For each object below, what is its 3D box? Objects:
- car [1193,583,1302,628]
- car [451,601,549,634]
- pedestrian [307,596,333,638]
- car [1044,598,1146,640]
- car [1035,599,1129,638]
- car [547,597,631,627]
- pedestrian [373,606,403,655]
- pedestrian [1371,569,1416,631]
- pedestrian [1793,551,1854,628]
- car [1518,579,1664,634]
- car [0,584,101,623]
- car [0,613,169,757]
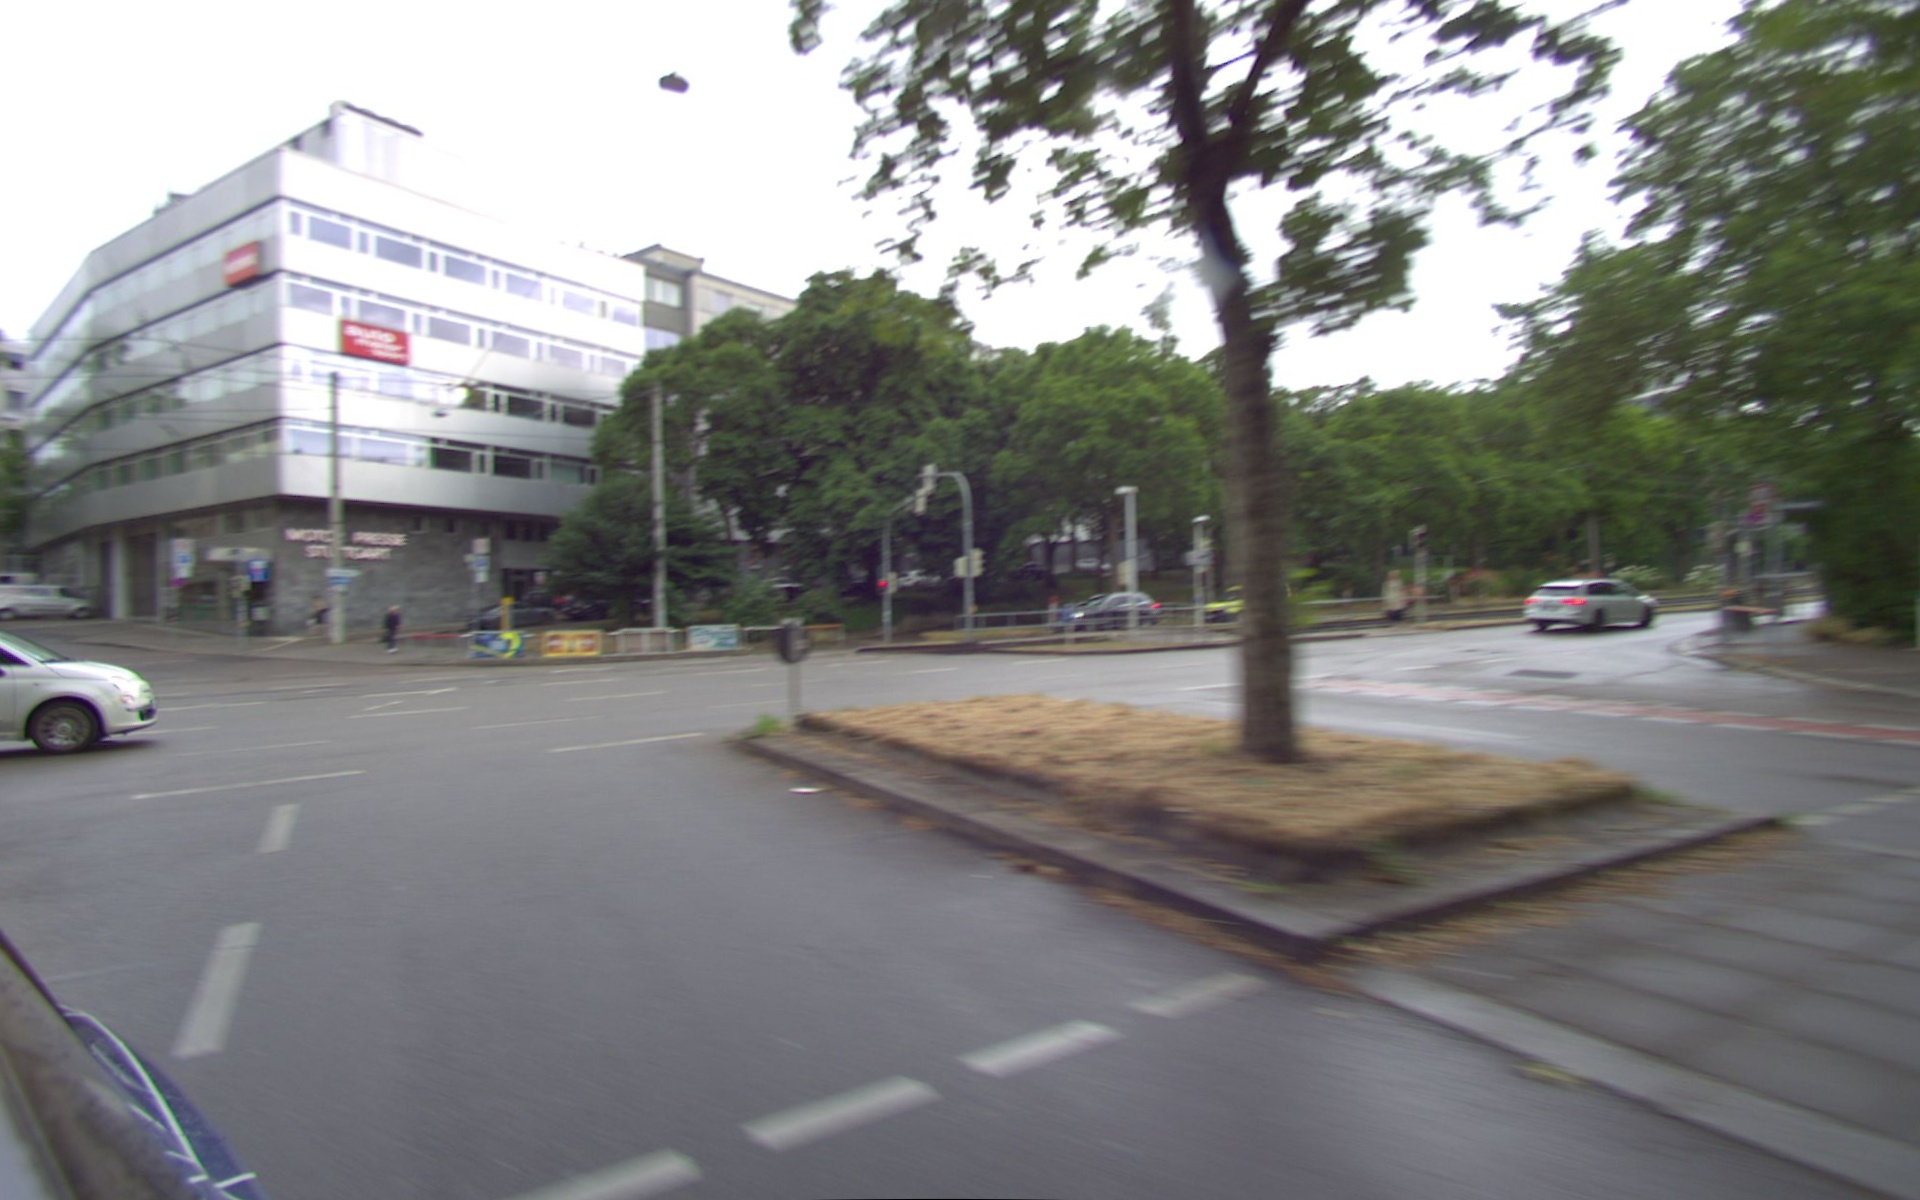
[{"bbox_3d":[12.758,0.237,44.871,4.488,1.865,1.932,-1,-1,-29],"label":"car"},{"bbox_3d":[-22.575,0.848,49.801,1.872,1.441,4.051,-2,0,30],"label":"car"},{"bbox_3d":[-29.218,0.765,46.202,0.718,1.874,0.751,-1,2,37],"label":"pedestrian"},{"bbox_3d":[5.491,0.789,41.186,3.618,1.557,1.932,-1,-1,-29],"label":"car"},{"bbox_3d":[5.407,0.828,44.747,3.618,1.557,1.932,-1,-1,-29],"label":"car"},{"bbox_3d":[-19.842,0.635,54.238,1.872,1.441,3.959,-2,0,30],"label":"car"},{"bbox_3d":[-22.505,1.196,39.820,0.846,1.875,0.712,-1,0,34],"label":"pedestrian"},{"bbox_3d":[13.068,-0.006,30.511,0.854,1.816,0.874,-2,0,-39],"label":"pedestrian"},{"bbox_3d":[23.588,-0.276,27.659,1.059,2.029,0.820,-2,-3,-29],"label":"pedestrian"},{"bbox_3d":[18.618,0.171,29.822,4.399,1.453,1.807,-1,-3,-31],"label":"car"},{"bbox_3d":[-52.157,0.203,57.103,1.998,2.029,5.343,-5,-3,38],"label":"car"},{"bbox_3d":[-10.808,0.960,10.941,3.382,1.445,1.660,-2,-2,-32],"label":"car"}]
